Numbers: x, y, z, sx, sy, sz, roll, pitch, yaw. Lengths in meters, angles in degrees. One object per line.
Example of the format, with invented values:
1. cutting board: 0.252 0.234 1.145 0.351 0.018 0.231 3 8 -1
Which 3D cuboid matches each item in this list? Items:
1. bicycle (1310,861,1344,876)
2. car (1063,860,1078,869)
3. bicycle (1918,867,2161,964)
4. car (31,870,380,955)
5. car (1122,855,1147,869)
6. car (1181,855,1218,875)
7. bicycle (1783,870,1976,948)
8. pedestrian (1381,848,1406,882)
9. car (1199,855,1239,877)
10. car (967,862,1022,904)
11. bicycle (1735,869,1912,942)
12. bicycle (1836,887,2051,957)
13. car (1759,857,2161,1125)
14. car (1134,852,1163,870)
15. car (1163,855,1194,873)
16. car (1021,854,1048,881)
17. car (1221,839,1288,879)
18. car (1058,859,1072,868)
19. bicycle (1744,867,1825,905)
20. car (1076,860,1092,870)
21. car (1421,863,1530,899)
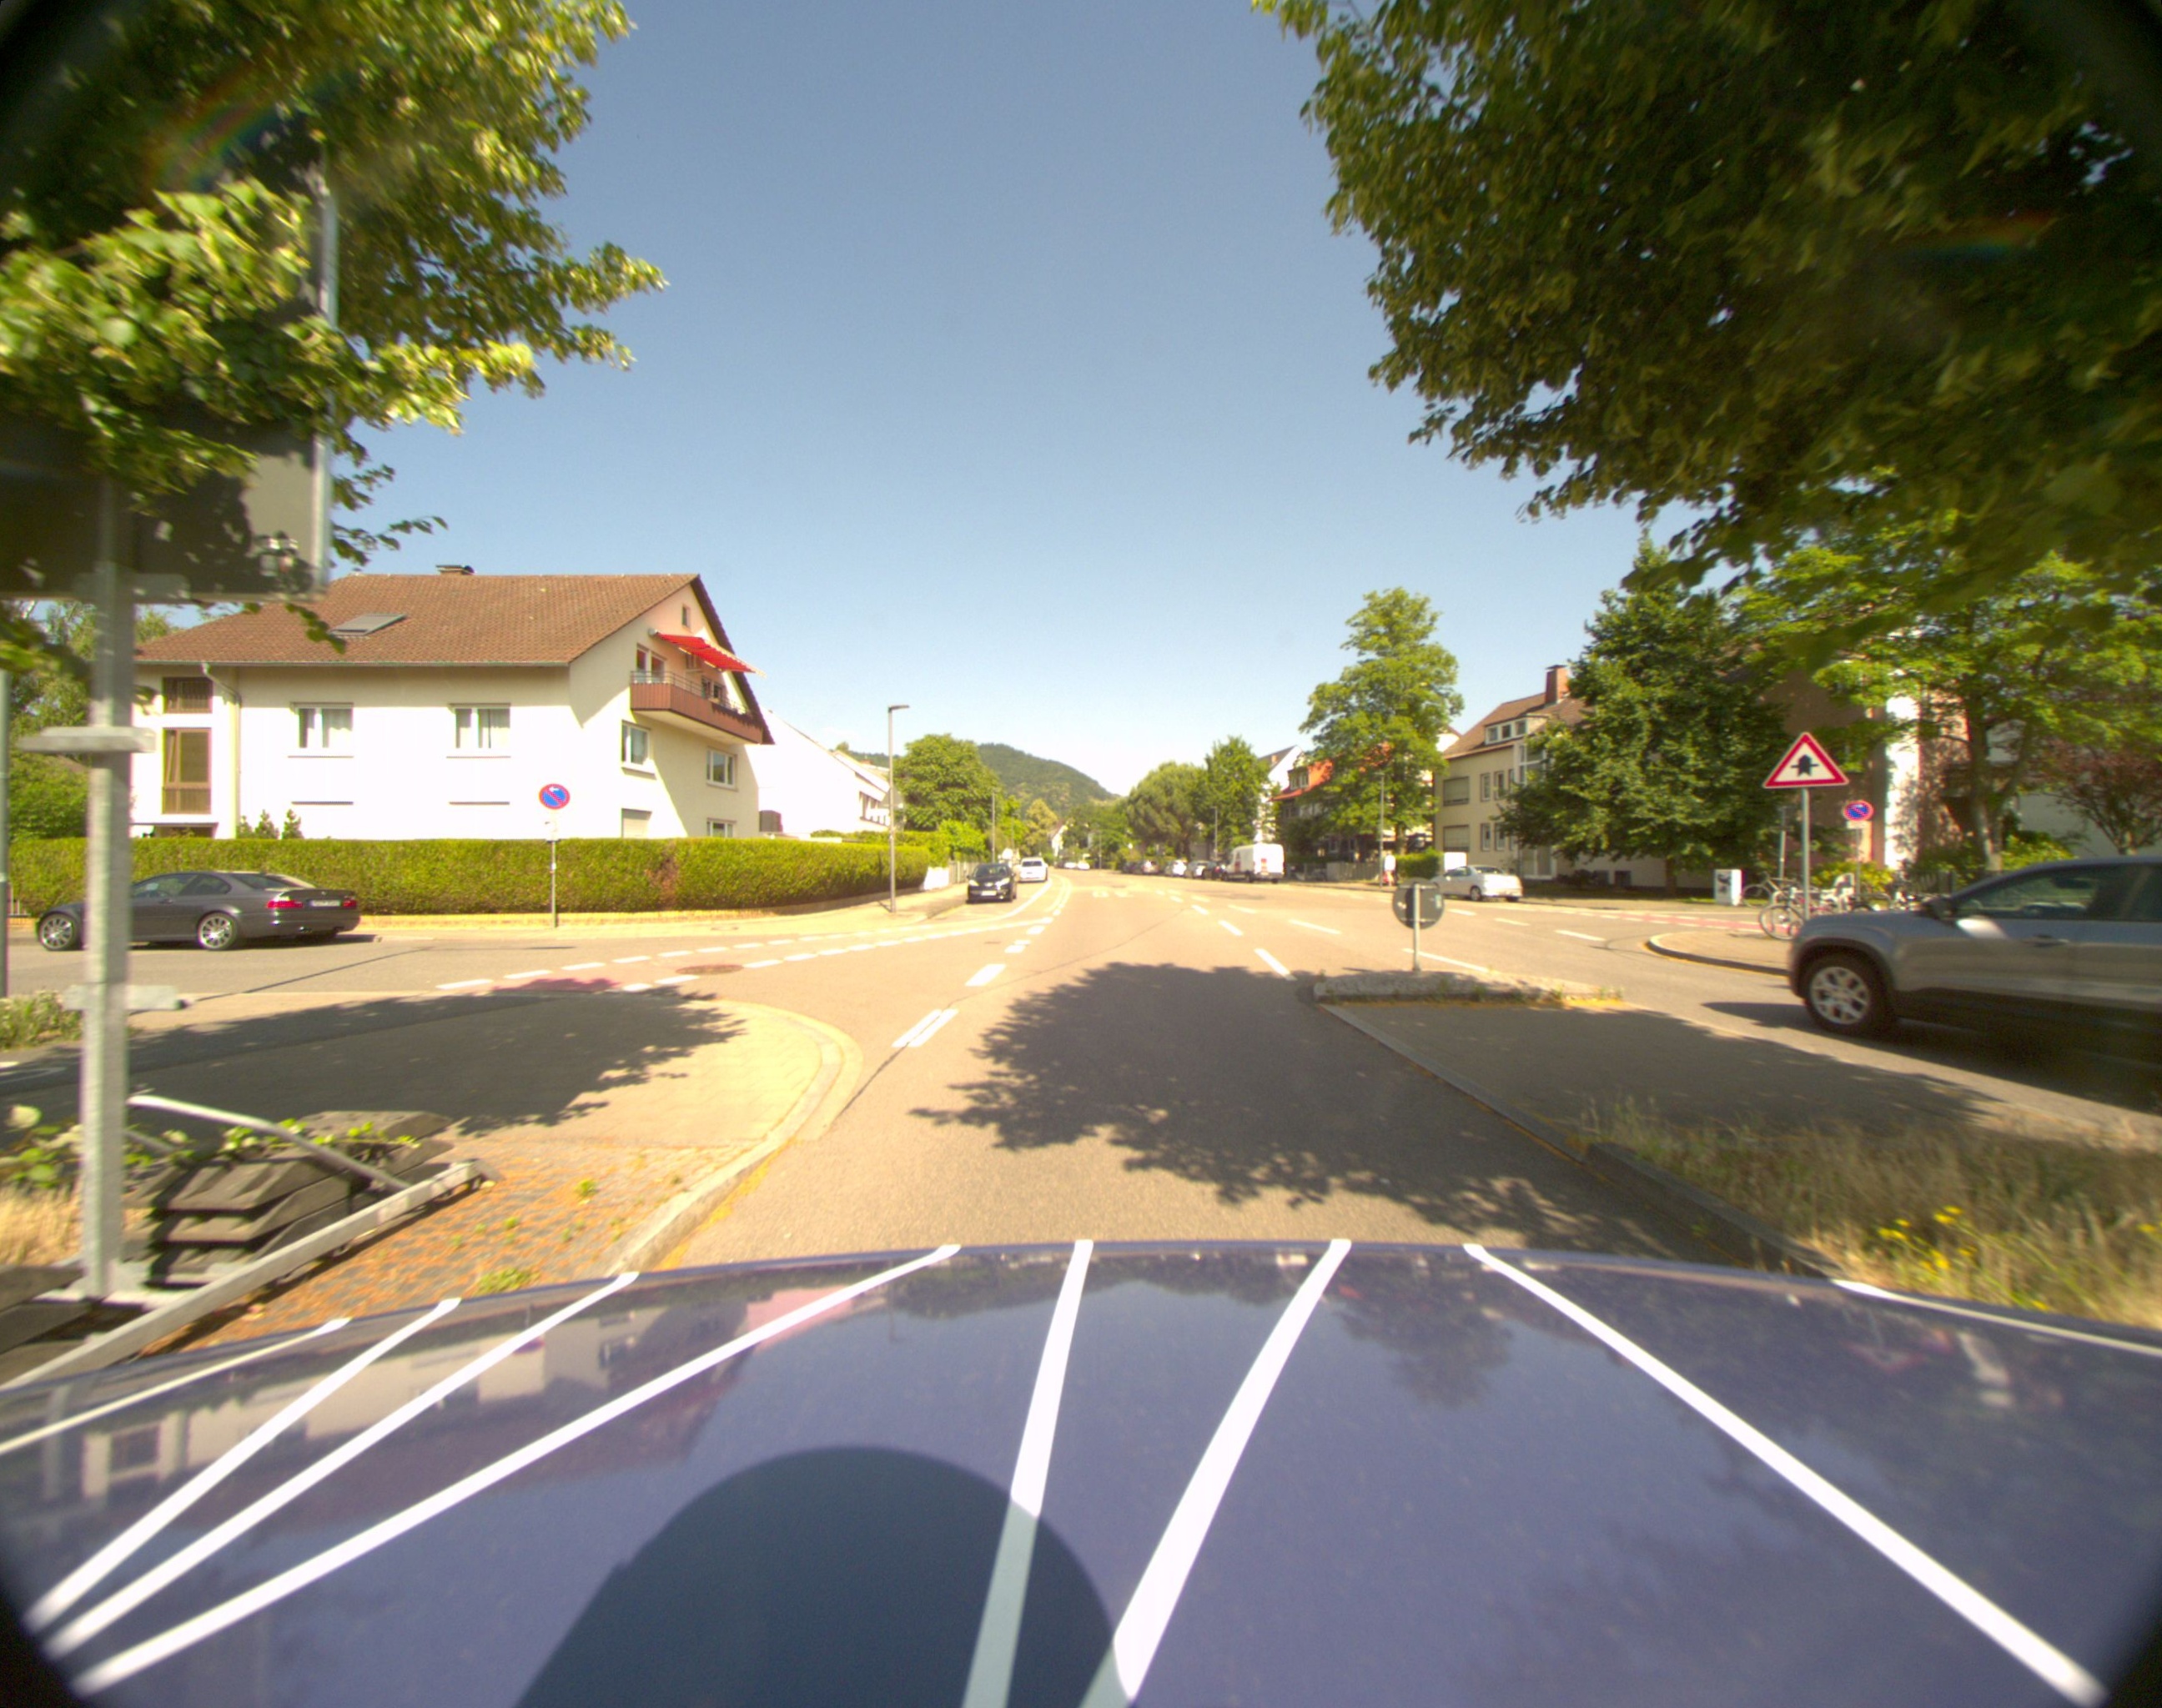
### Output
1. bicycle: 16.601 0.990 51.235 2.074 0.995 0.775 0 0 -6
2. car: -1.769 1.756 130.282 2.000 1.608 3.997 0 0 -8
3. bicycle: 13.177 0.822 10.480 2.522 1.249 0.739 1 -1 -2
4. car: -15.526 1.029 13.652 4.126 1.389 1.812 0 -3 1
5. car: 5.855 0.916 83.694 1.847 1.448 4.191 1 -1 -9
6. car: 9.501 0.875 61.186 1.726 1.549 4.670 1 -1 -7
7. bicycle: 13.466 0.920 12.846 2.551 1.232 0.739 1 -1 -2
8. pedestrian: 16.437 0.585 39.948 0.976 1.769 0.725 0 0 -3
9. car: 10.186 0.876 56.388 1.726 1.549 3.998 1 -1 -7
10. car: -3.222 1.060 29.012 1.621 1.382 4.000 -3 0 0
11. bicycle: 13.480 0.926 13.830 2.551 1.249 0.739 1 -1 -2
12. bicycle: 13.226 1.031 11.692 2.551 0.981 0.739 1 -1 -2
13. car: 7.120 0.812 4.976 1.745 1.538 4.073 1 0 1
14. car: 6.913 0.719 78.282 1.847 1.754 4.582 1 -1 -9
15. car: 8.595 0.897 67.293 1.726 1.549 3.998 1 -1 -7
16. car: -3.252 0.915 54.120 1.767 1.816 4.597 -2 0 -2
17. car: 11.390 0.339 50.507 2.096 2.481 5.947 1 -1 -11
18. car: -2.862 1.727 137.737 2.000 1.674 3.997 0 0 -8
19. bicycle: 20.283 0.914 21.949 1.711 1.074 0.379 -1 -1 41
20. car: 0.496 1.716 117.466 1.960 1.543 3.997 0 0 -8
21. car: 14.955 0.999 29.062 1.726 1.259 3.998 1 -1 -7
